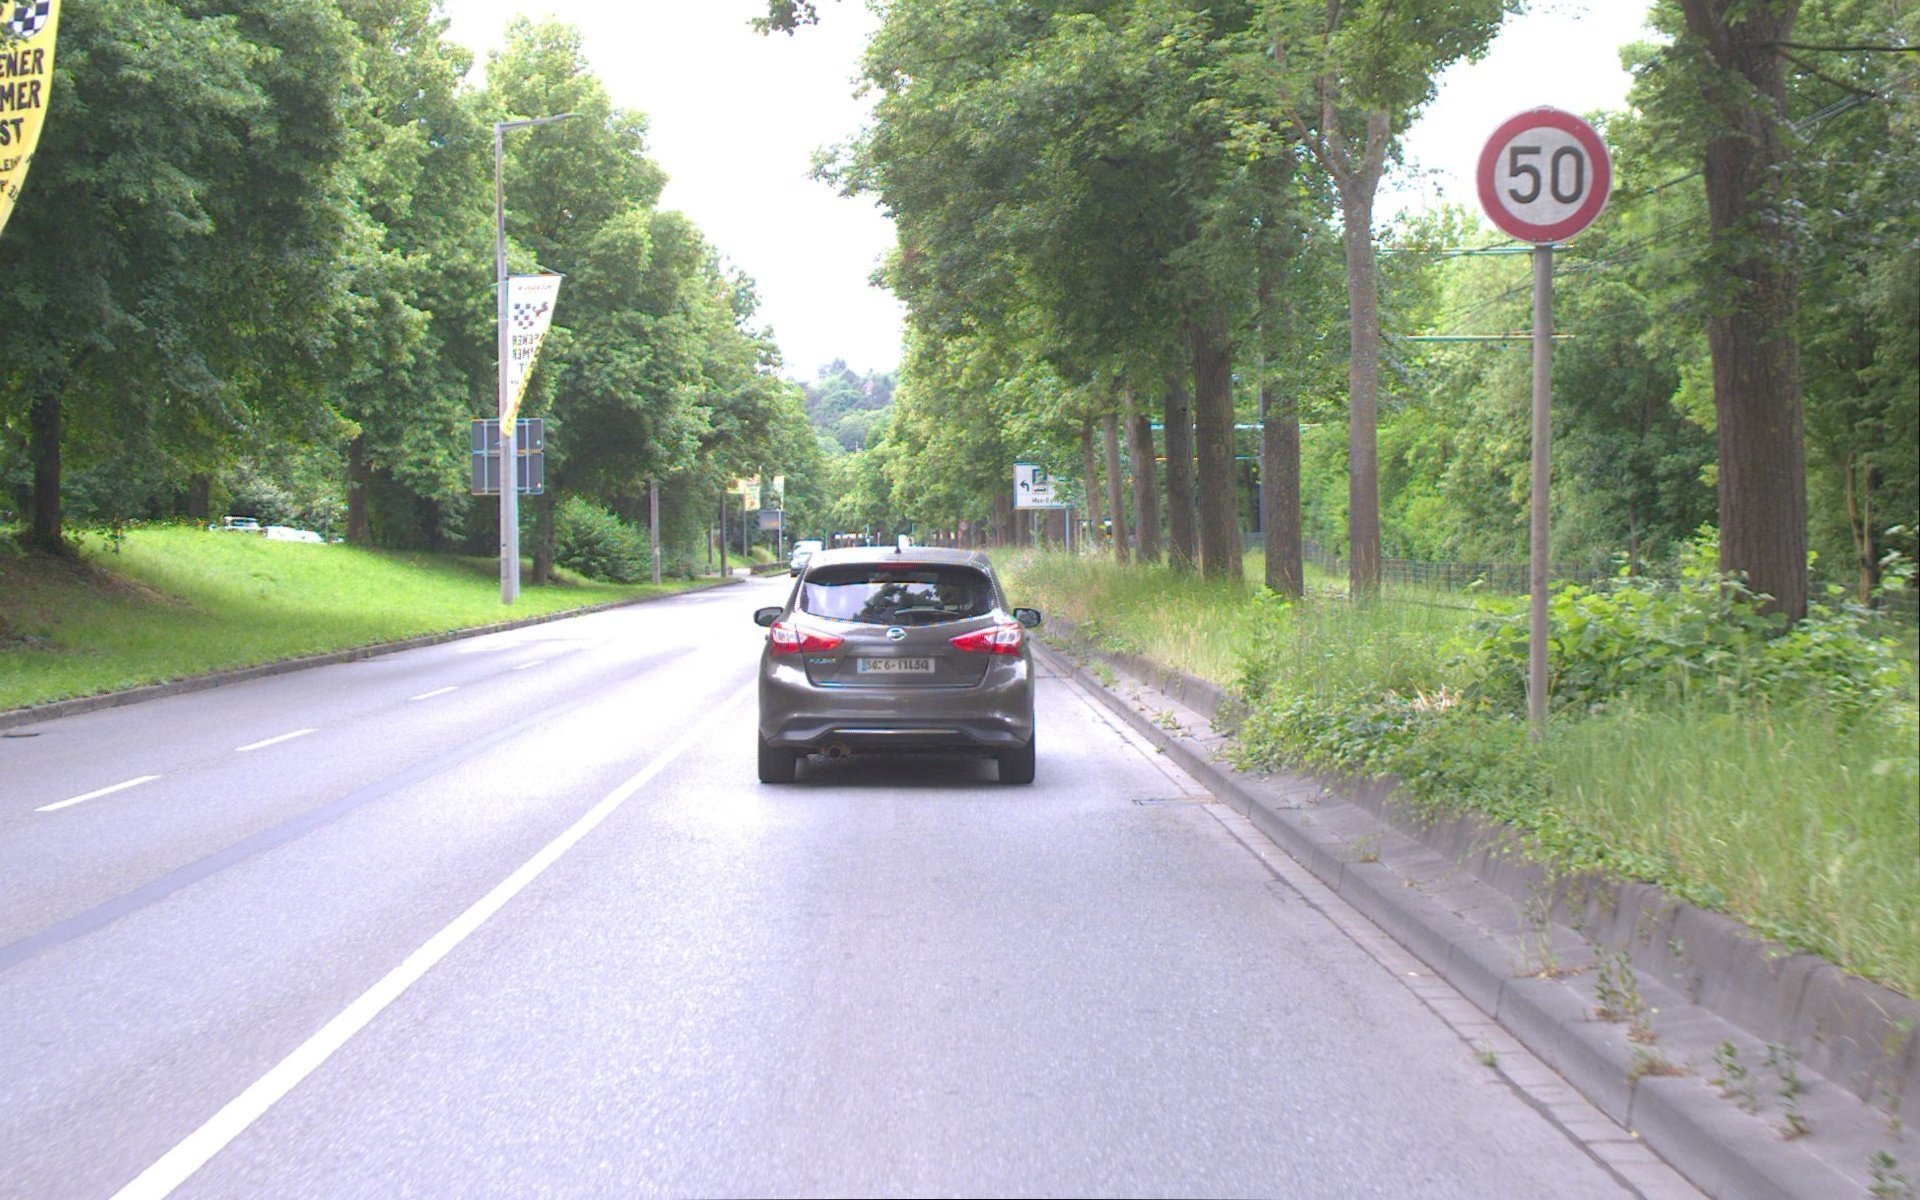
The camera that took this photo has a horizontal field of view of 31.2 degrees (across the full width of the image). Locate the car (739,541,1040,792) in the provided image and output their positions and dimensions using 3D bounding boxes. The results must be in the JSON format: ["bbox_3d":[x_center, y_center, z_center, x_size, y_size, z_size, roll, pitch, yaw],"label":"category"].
[{"bbox_3d":[-0.400,0.395,23.148,1.837,1.523,3.929,1,0,1],"label":"car"}]

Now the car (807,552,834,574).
[{"bbox_3d":[-7.642,-2.029,188.508,1.278,1.221,3.778,1,1,0],"label":"car"}]
